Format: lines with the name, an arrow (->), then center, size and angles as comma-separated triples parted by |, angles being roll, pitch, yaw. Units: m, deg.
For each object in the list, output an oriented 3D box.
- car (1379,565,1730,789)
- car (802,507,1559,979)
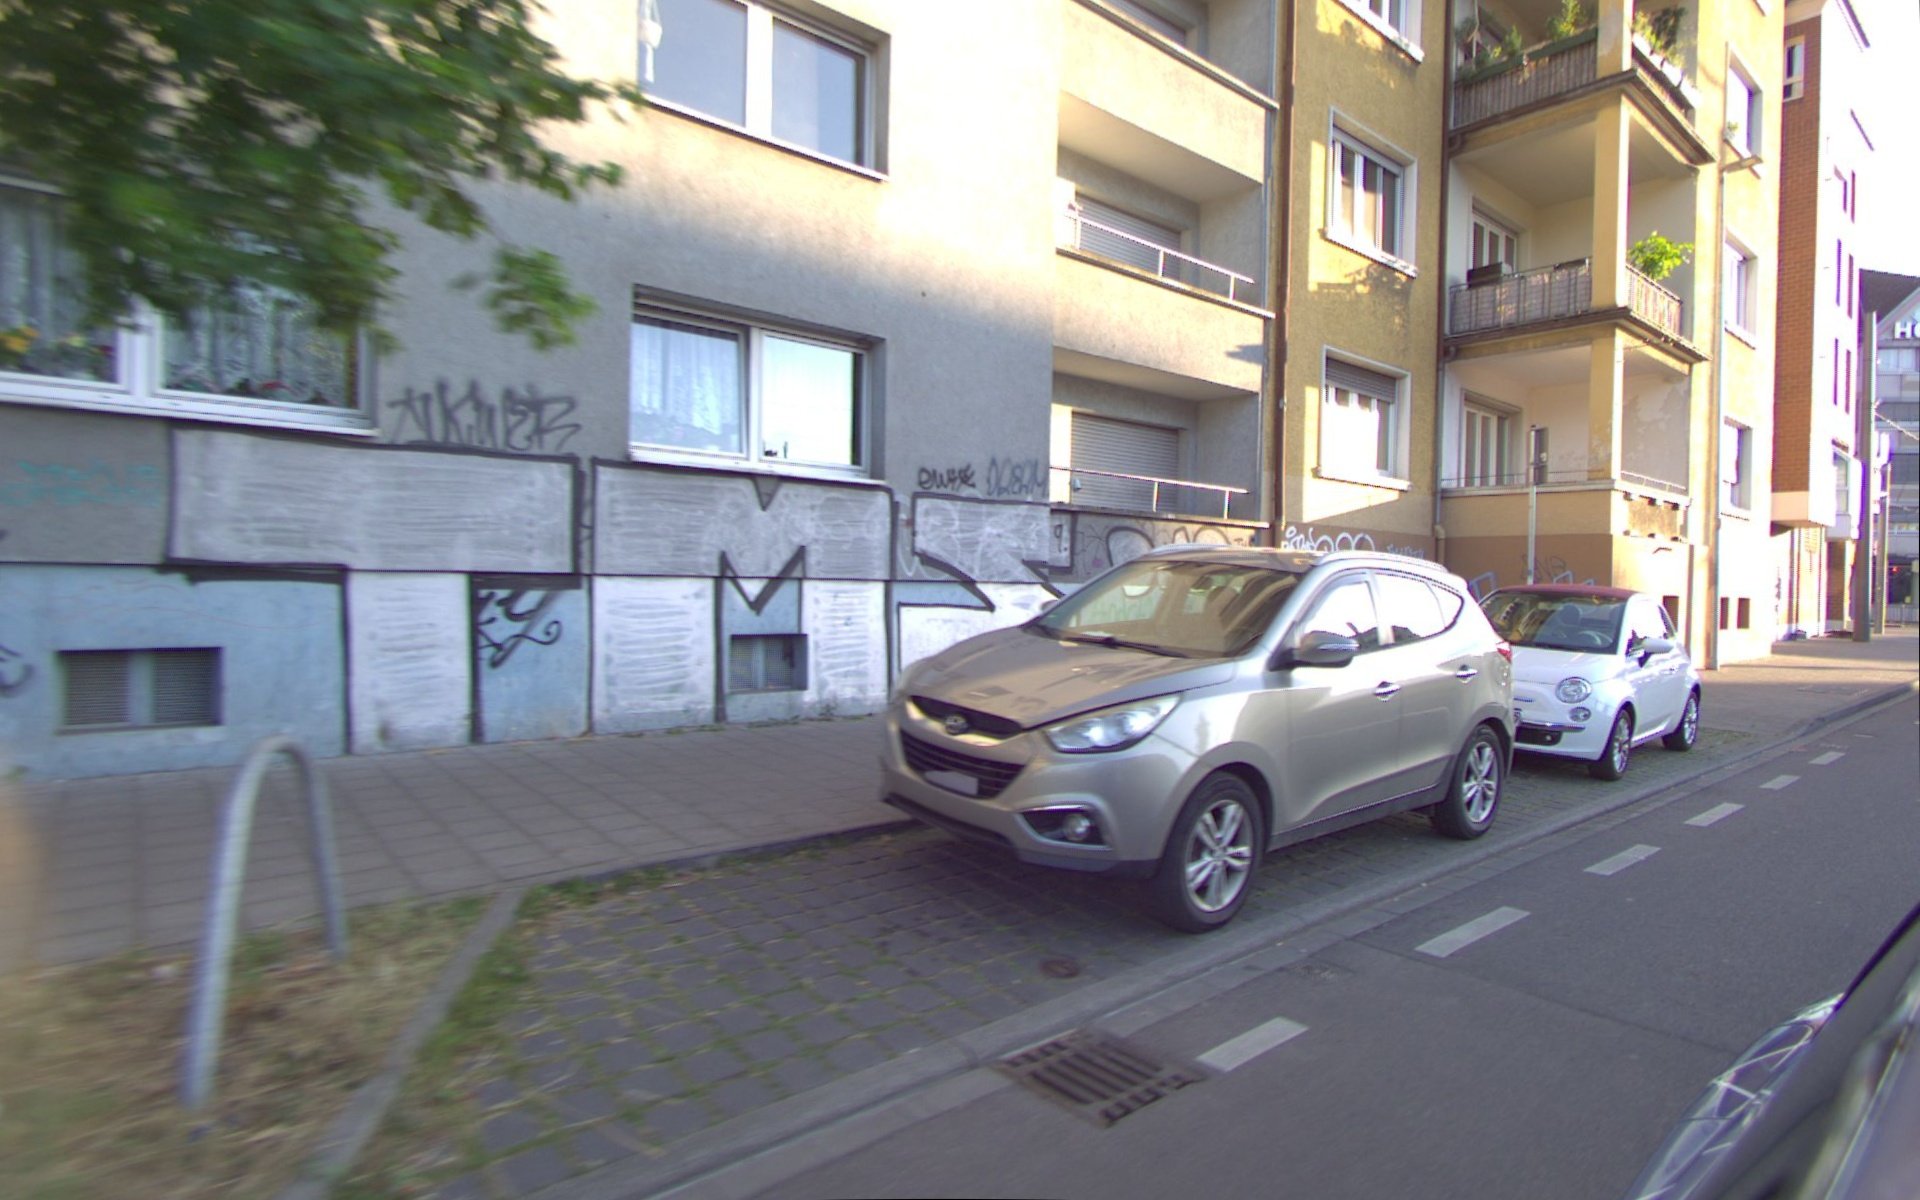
car -> 5.475, 0.529, 9.161 | 3.540, 1.536, 1.673 | 0, 5, -42
car -> 1.510, 0.446, 5.683 | 4.448, 1.674, 1.761 | 0, 4, -40
